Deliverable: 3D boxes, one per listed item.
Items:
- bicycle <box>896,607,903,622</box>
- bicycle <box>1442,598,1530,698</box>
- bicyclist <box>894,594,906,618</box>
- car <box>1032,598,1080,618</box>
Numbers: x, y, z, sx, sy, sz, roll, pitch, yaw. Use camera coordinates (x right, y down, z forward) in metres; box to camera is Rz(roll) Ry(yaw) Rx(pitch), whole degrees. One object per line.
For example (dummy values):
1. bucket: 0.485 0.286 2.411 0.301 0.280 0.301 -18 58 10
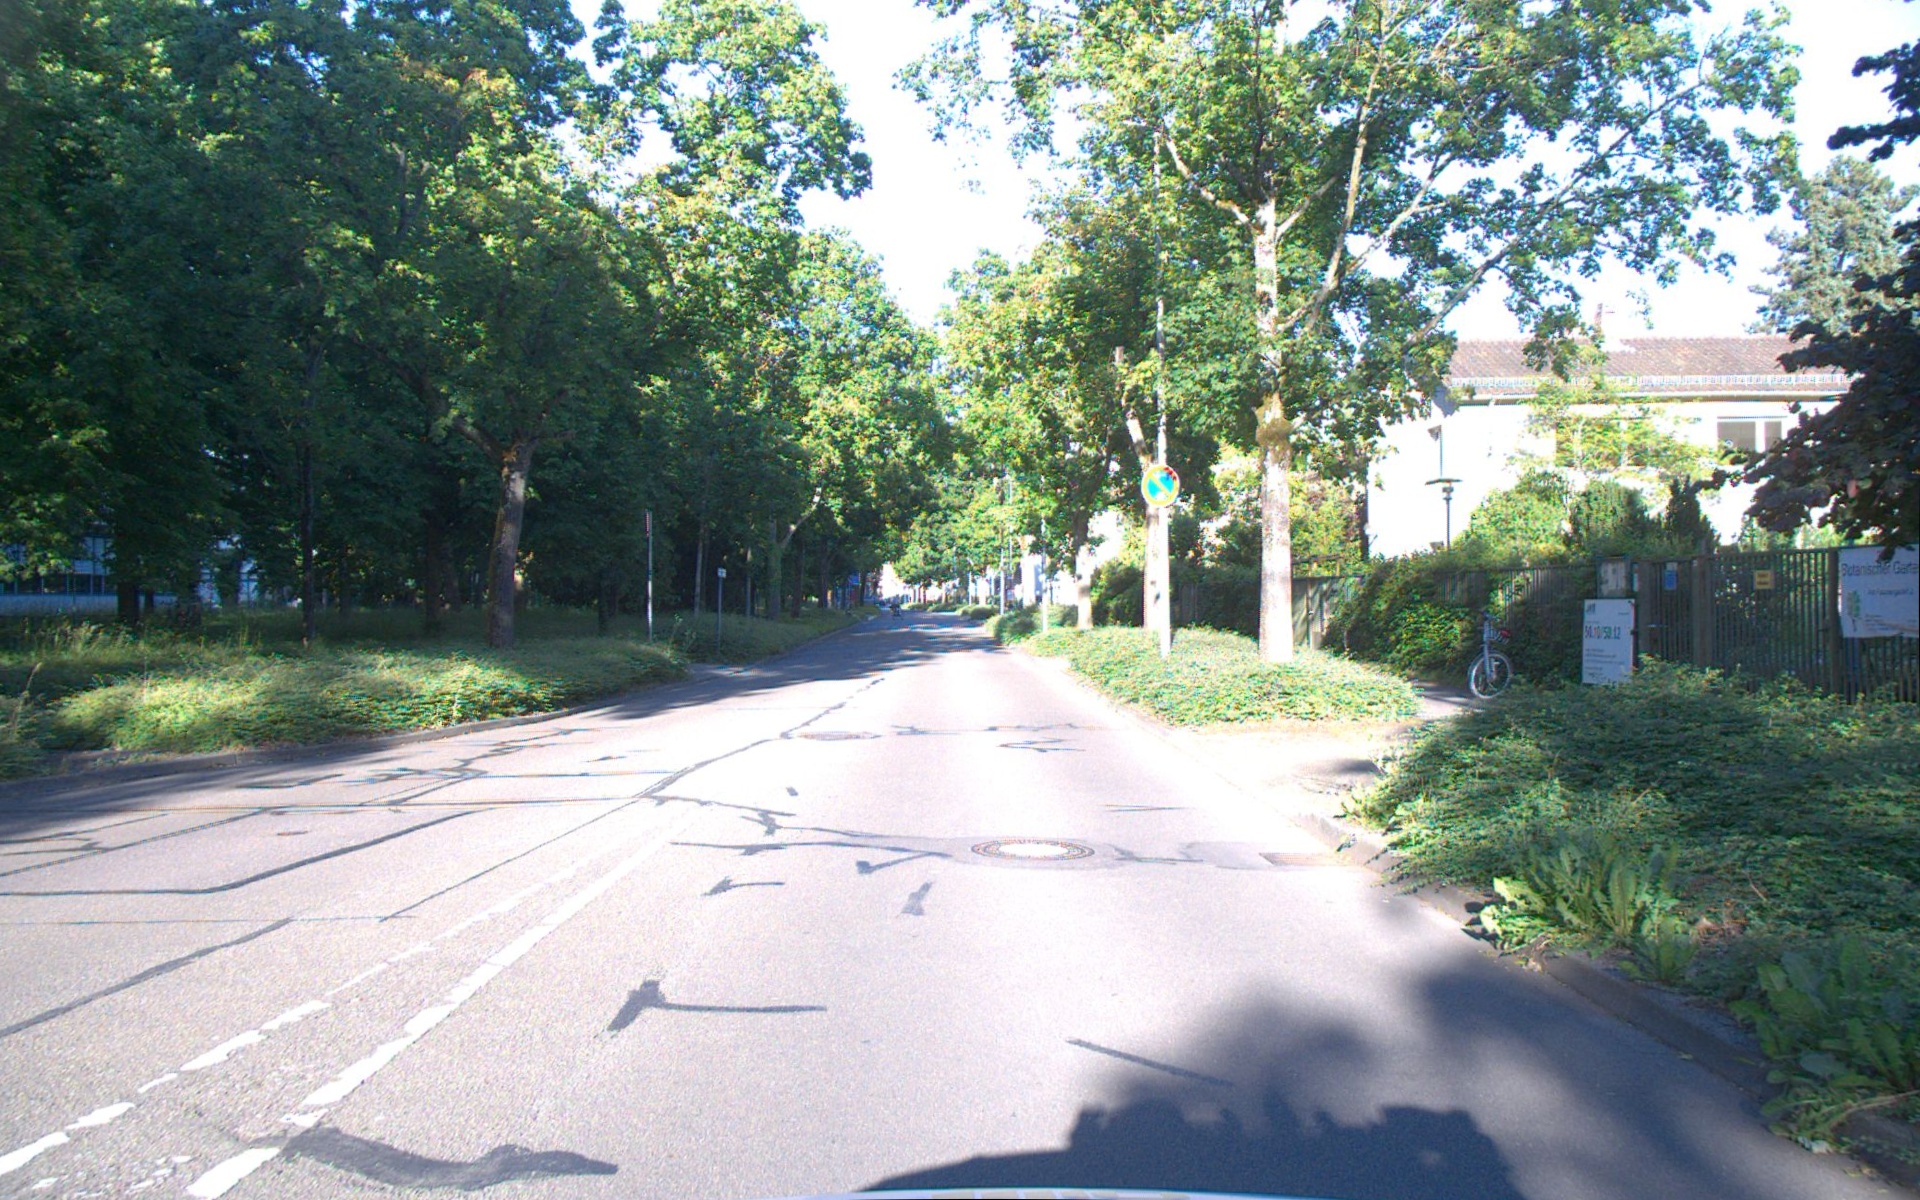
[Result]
1. bicycle: -4.269 1.040 116.302 0.430 0.995 1.661 0 1 -1
2. bicycle: 7.066 0.616 22.145 0.865 1.221 2.325 -2 0 23
3. bicyclist: -4.219 0.402 116.263 0.849 1.669 1.114 1 1 -1
4. car: 8.820 0.714 151.510 4.259 1.377 2.145 4 3 5
